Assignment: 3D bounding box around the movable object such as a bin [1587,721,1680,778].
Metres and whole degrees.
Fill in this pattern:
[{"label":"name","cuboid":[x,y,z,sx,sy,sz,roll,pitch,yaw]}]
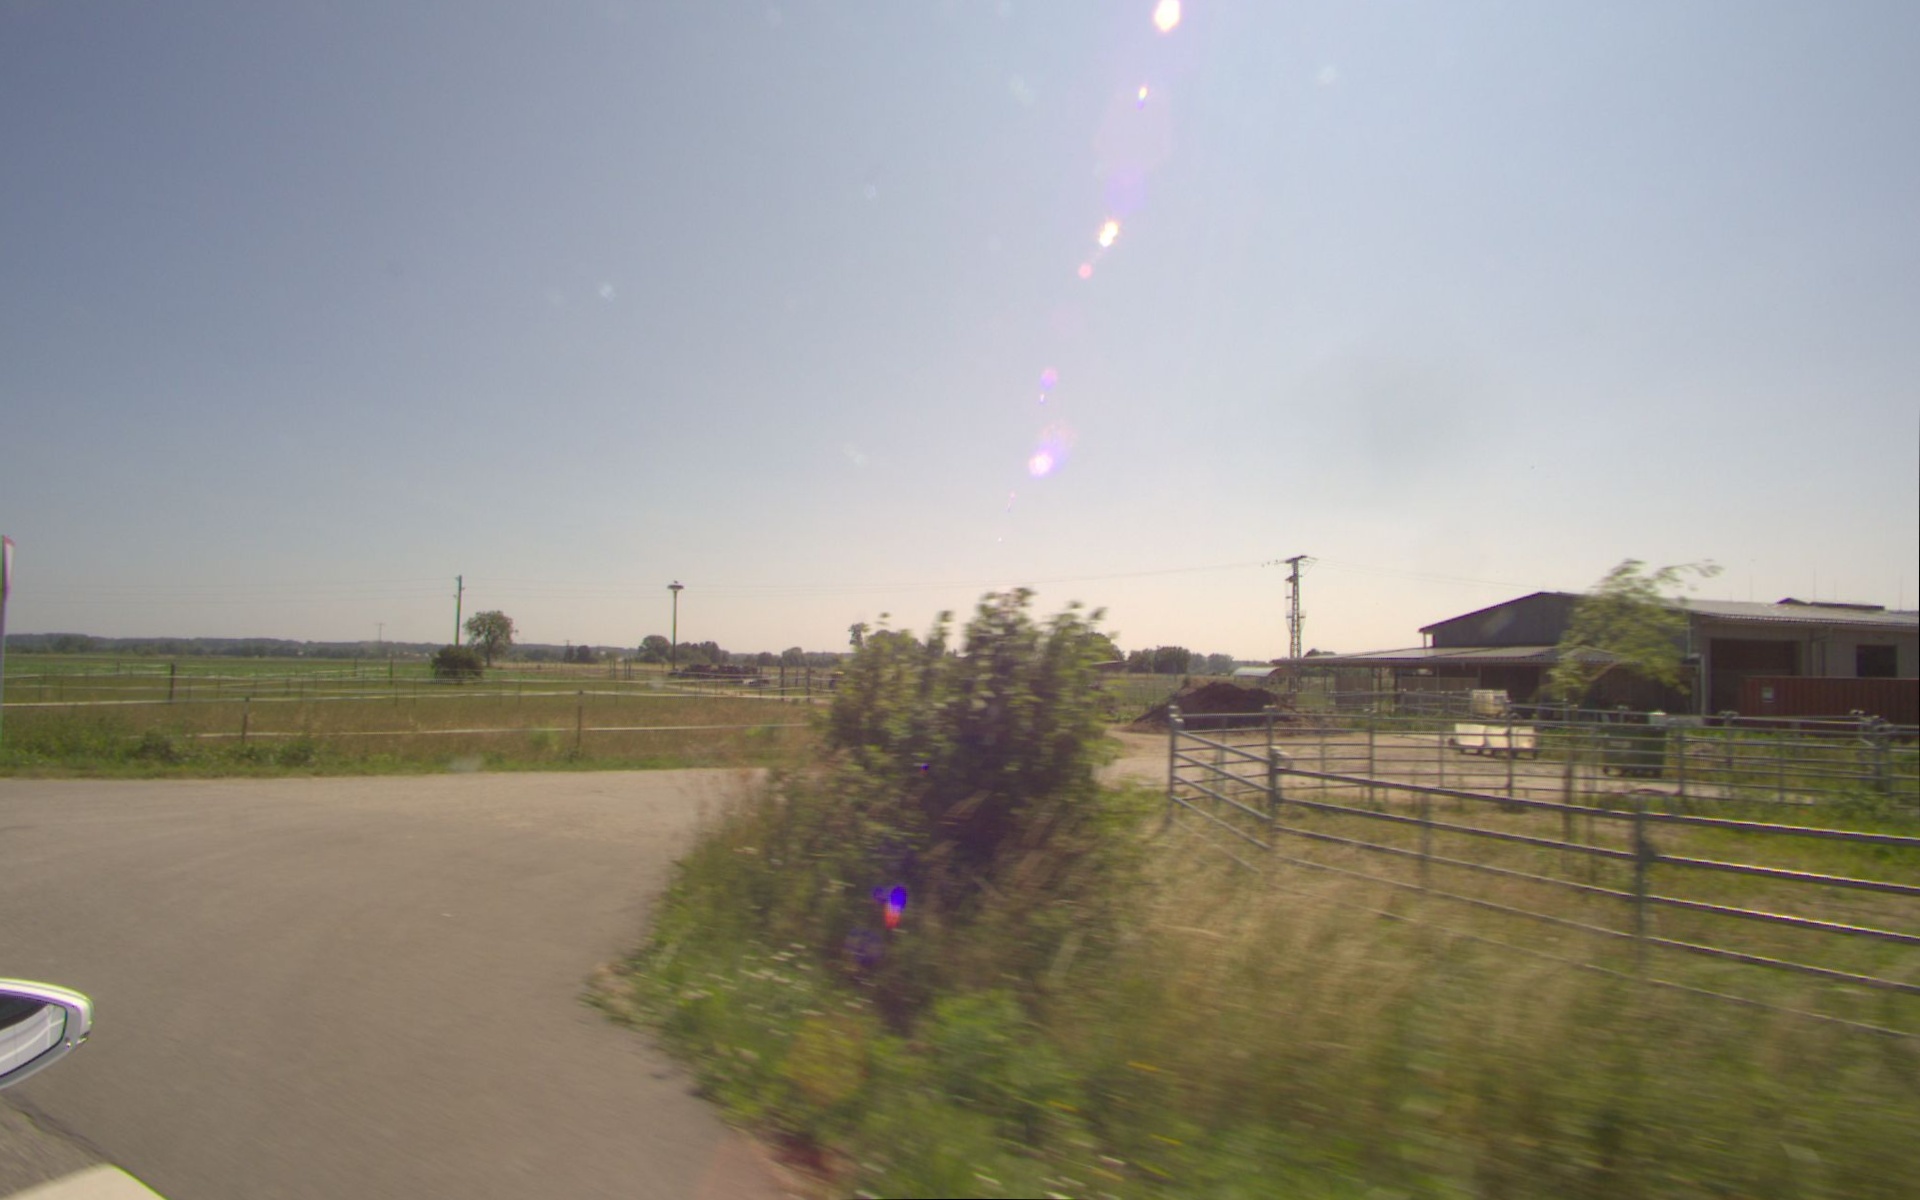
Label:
[{"label":"movable object such as a bin","cuboid":[17.609,3.882,26.219,1.351,1.365,1.513,3,-4,-23]}]
